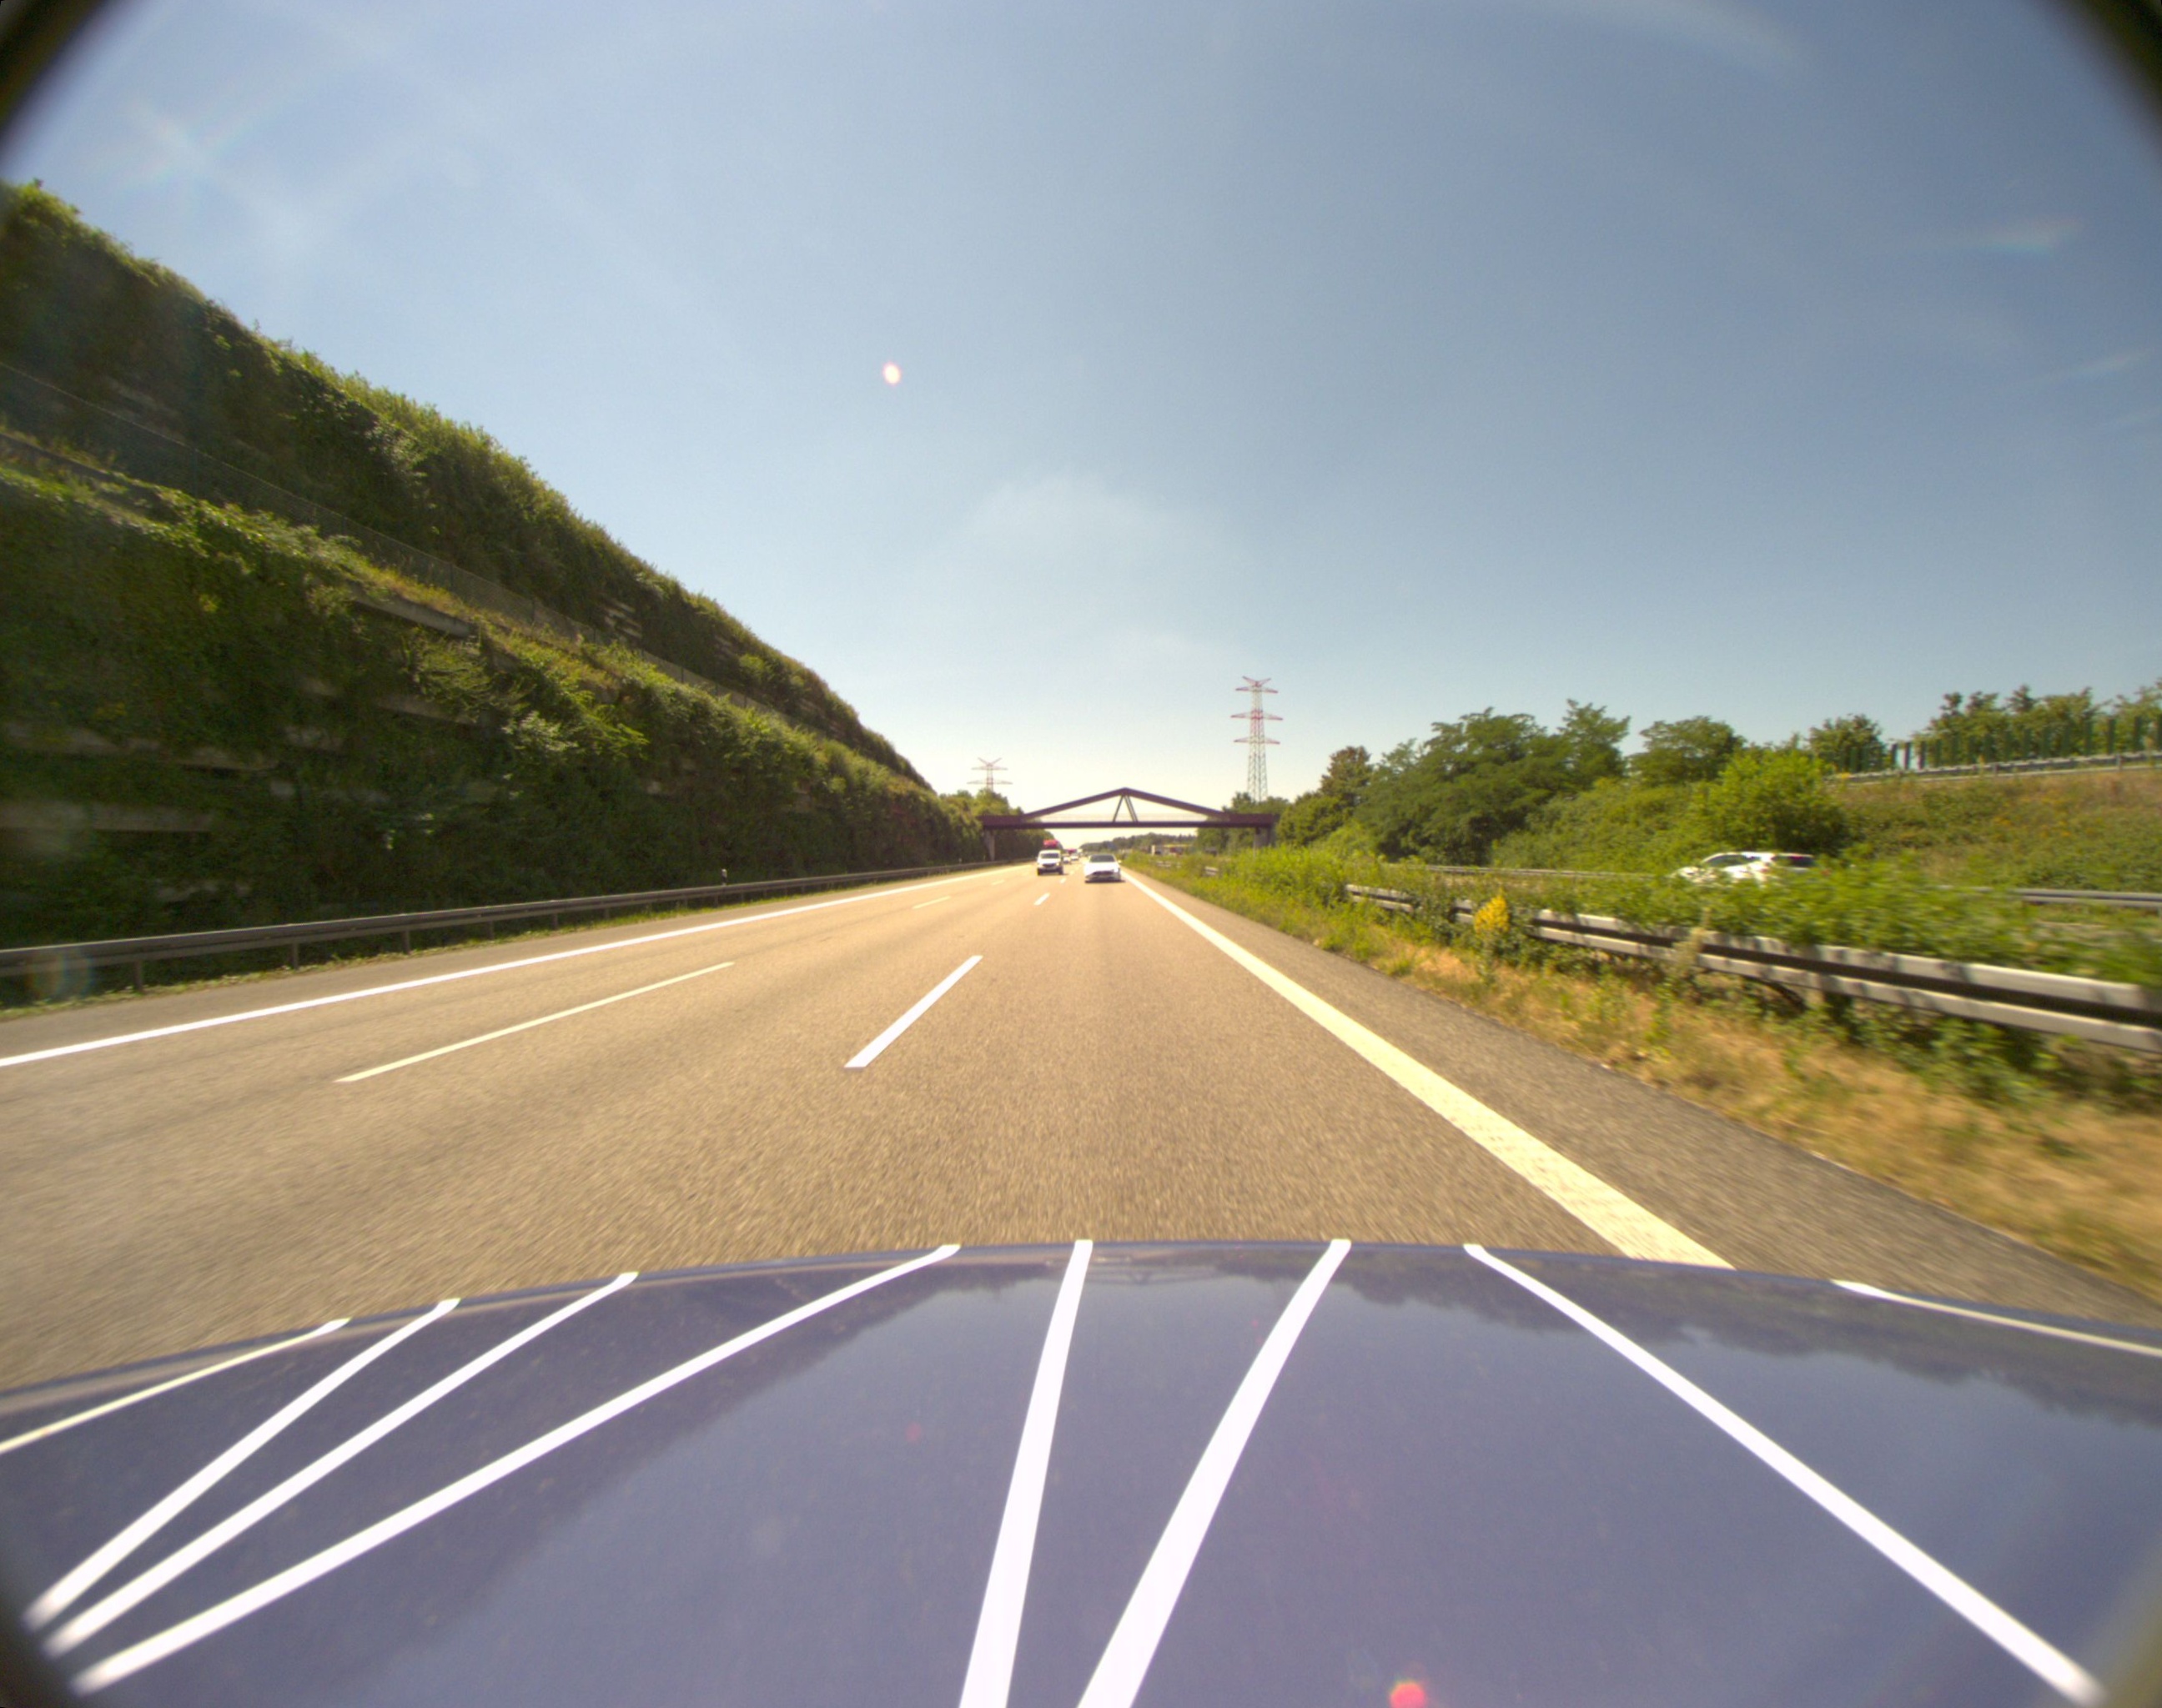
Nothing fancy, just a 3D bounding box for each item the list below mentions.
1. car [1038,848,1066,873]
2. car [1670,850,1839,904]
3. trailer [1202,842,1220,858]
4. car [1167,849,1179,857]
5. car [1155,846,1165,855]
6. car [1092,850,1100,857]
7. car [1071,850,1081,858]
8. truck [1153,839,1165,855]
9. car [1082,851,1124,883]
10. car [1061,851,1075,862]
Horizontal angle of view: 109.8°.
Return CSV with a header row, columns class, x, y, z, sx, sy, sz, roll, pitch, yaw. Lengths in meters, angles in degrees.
class,x,y,z,sx,sy,sz,roll,pitch,yaw
car,-2.119,0.451,56.383,1.784,1.783,3.999,-2,1,0
car,21.448,0.665,24.456,1.768,1.587,4.151,0,0,0
trailer,20.194,-0.586,118.314,1.998,2.504,4.183,0,1,0
car,16.497,-0.180,136.679,1.756,1.427,3.999,0,1,0
car,16.642,-0.680,160.235,1.892,1.833,3.999,0,1,0
car,3.240,-0.187,165.122,1.784,1.475,3.999,0,0,0
car,-0.999,-0.065,152.392,1.784,1.475,3.999,-2,1,0
truck,20.993,-1.779,204.422,2.443,4.203,5.593,-1,1,0
car,1.078,0.625,39.392,1.998,1.474,4.108,-2,1,0
car,-1.764,0.311,105.619,1.784,1.475,3.999,-2,1,0
